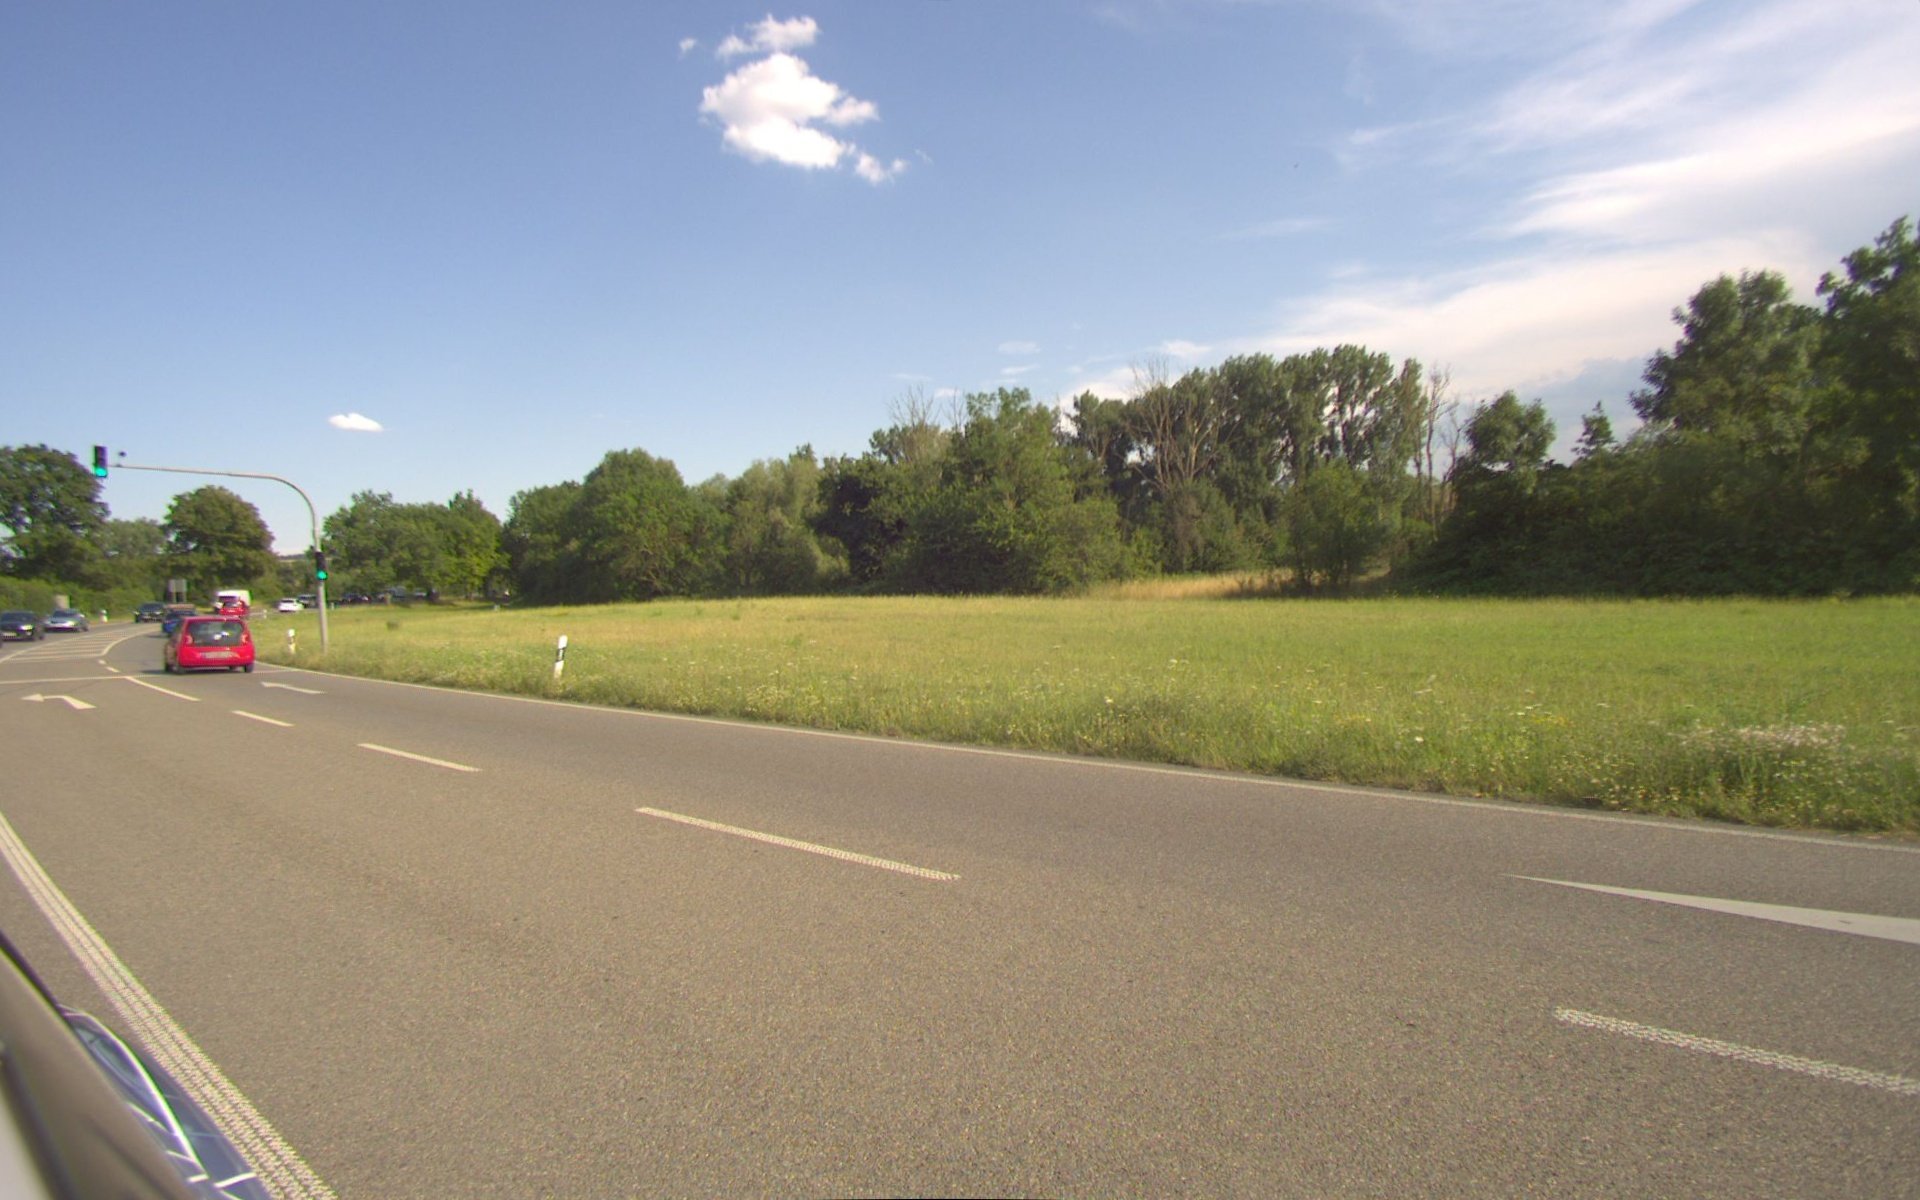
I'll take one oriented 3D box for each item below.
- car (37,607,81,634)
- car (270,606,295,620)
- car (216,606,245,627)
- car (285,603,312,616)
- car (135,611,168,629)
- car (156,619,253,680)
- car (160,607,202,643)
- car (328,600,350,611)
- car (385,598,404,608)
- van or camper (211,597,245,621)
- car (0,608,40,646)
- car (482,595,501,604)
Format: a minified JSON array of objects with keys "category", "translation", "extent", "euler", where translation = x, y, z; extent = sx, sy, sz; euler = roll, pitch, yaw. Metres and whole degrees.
[{"category":"car","translation":[-55.122,1.235,61.955],"extent":[1.609,1.570,3.426],"euler":[1,0,-35]},{"category":"car","translation":[-78.198,1.478,116.849],"extent":[1.854,1.598,4.344],"euler":[0,-1,-26]},{"category":"car","translation":[-65.152,1.507,90.413],"extent":[1.854,1.789,4.334],"euler":[0,-2,-32]},{"category":"car","translation":[-89.504,1.298,137.011],"extent":[1.966,1.563,4.012],"euler":[-3,2,-17]},{"category":"car","translation":[-66.872,1.665,83.775],"extent":[1.581,1.490,3.627],"euler":[1,-2,-30]},{"category":"car","translation":[-19.870,1.263,26.558],"extent":[1.567,1.478,3.609],"euler":[1,-2,-44]},{"category":"car","translation":[-42.988,1.367,55.924],"extent":[1.702,1.897,4.345],"euler":[1,-2,-36]},{"category":"car","translation":[-93.893,0.838,153.042],"extent":[1.966,1.563,4.013],"euler":[-3,2,-18]},{"category":"car","translation":[-91.171,0.478,163.259],"extent":[1.723,1.478,3.487],"euler":[0,0,-11]},{"category":"van or camper","translation":[-78.925,0.925,109.148],"extent":[2.000,2.494,5.094],"euler":[-3,1,-26]},{"category":"car","translation":[-46.490,1.305,49.659],"extent":[1.648,1.741,3.677],"euler":[0,0,-37]},{"category":"car","translation":[-94.031,-0.084,203.187],"extent":[1.906,1.598,4.073],"euler":[0,0,0]}]
